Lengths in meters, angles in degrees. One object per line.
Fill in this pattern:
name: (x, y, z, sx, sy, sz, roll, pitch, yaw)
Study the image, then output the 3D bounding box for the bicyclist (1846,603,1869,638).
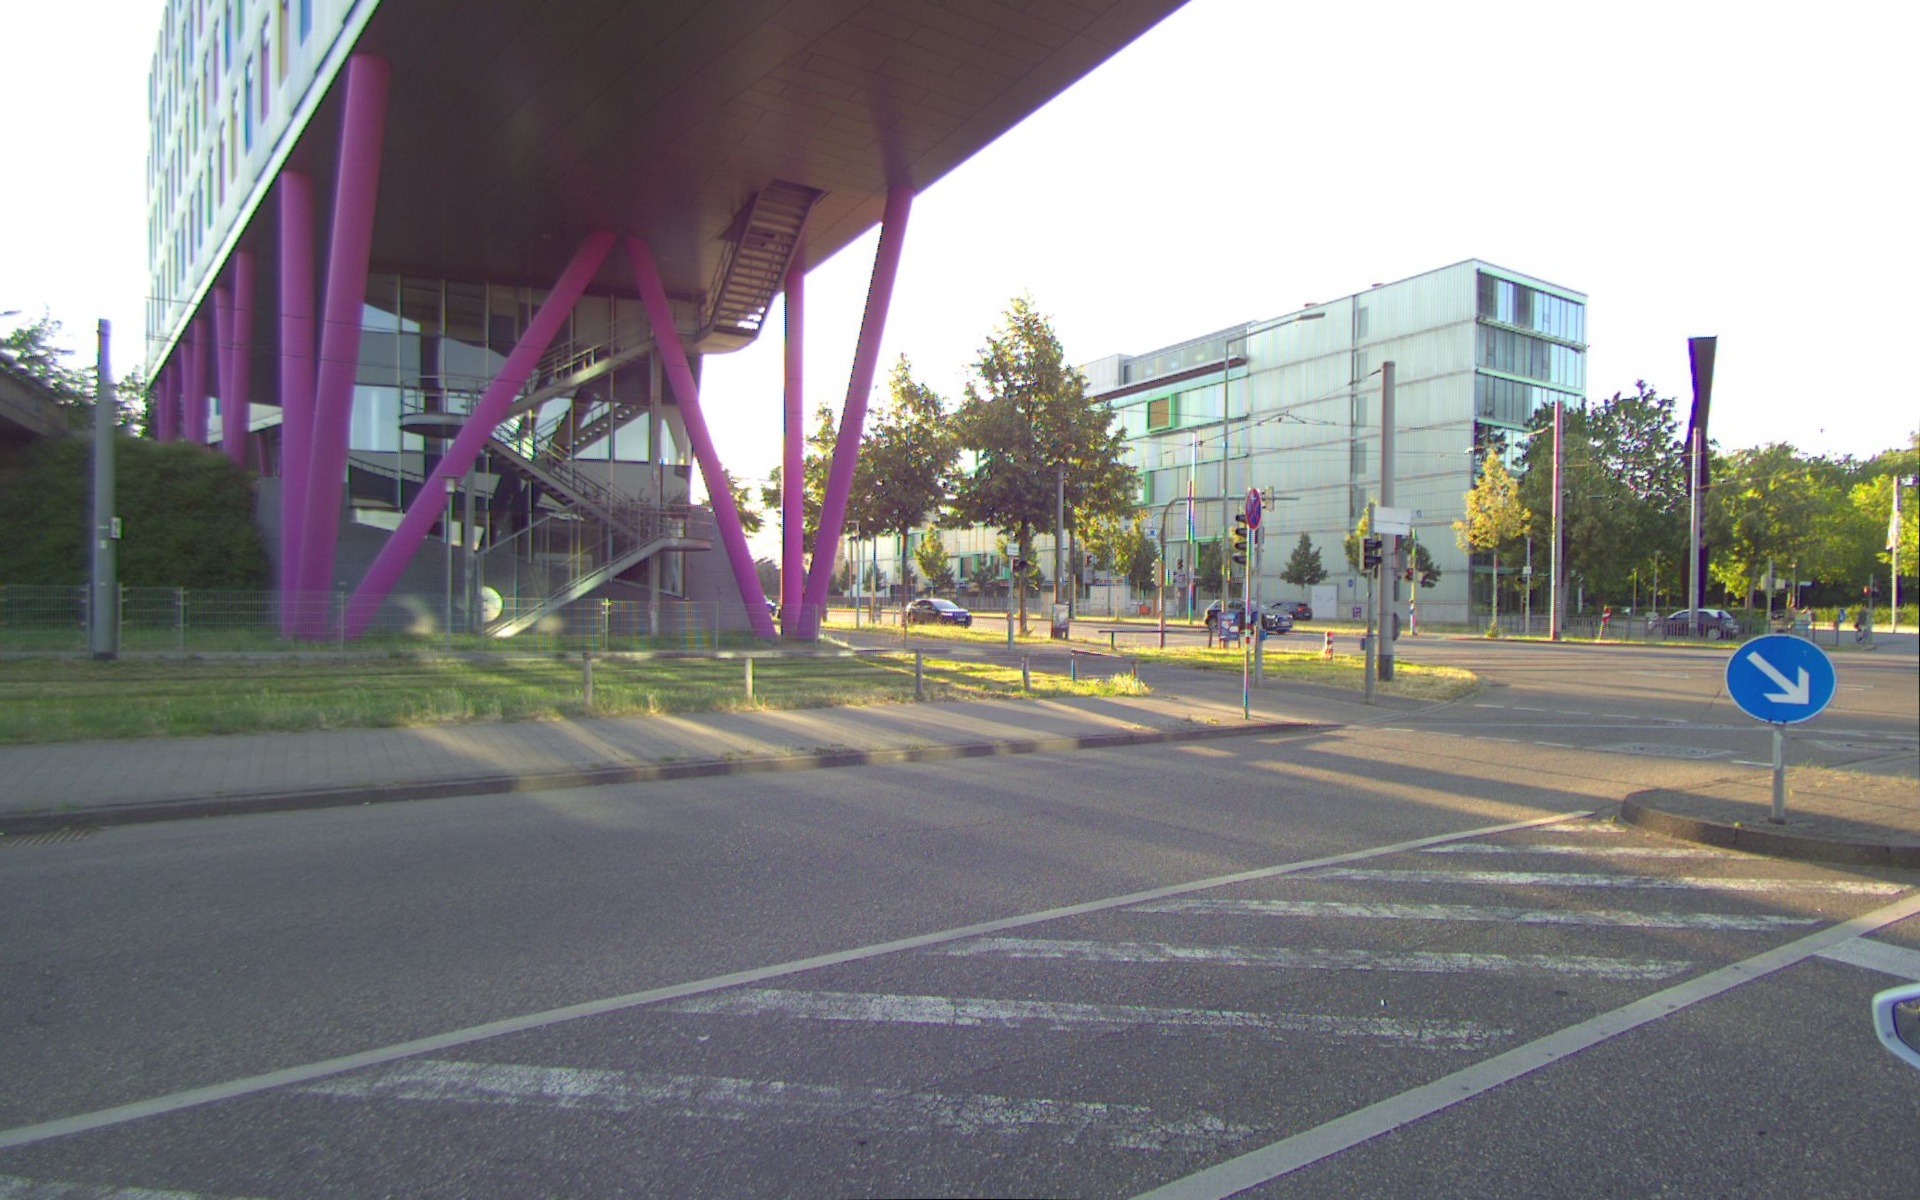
bicyclist: (45.661, 1.038, 51.120, 0.741, 1.732, 0.917, 1, 0, 35)

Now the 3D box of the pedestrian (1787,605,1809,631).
pedestrian: (58.196, 1.224, 69.774, 0.814, 1.767, 0.863, 1, 0, -1)

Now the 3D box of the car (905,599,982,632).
car: (-0.931, 0.818, 53.425, 1.976, 1.636, 4.884, 1, 0, -30)

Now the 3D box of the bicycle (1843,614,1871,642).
bicycle: (45.651, 1.399, 51.143, 0.720, 1.359, 2.682, 1, 0, 35)

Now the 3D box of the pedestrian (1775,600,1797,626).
pedestrian: (57.274, 0.876, 69.671, 0.813, 1.767, 0.863, 1, 0, 4)

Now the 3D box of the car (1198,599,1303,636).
car: (13.290, 0.791, 46.202, 1.968, 1.577, 4.448, 1, 0, -34)

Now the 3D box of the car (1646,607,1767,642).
car: (35.764, 1.169, 48.220, 1.785, 1.516, 4.305, 2, -1, -33)

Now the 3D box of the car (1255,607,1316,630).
car: (23.935, 1.348, 73.991, 1.782, 1.516, 4.314, 2, -1, -28)

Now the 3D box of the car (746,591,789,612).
car: (-15.000, 0.084, 78.053, 1.976, 1.595, 4.414, 1, 0, -29)

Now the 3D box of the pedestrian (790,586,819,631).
pedestrian: (-6.257, 0.358, 40.337, 0.921, 1.747, 0.877, 1, -2, -28)
